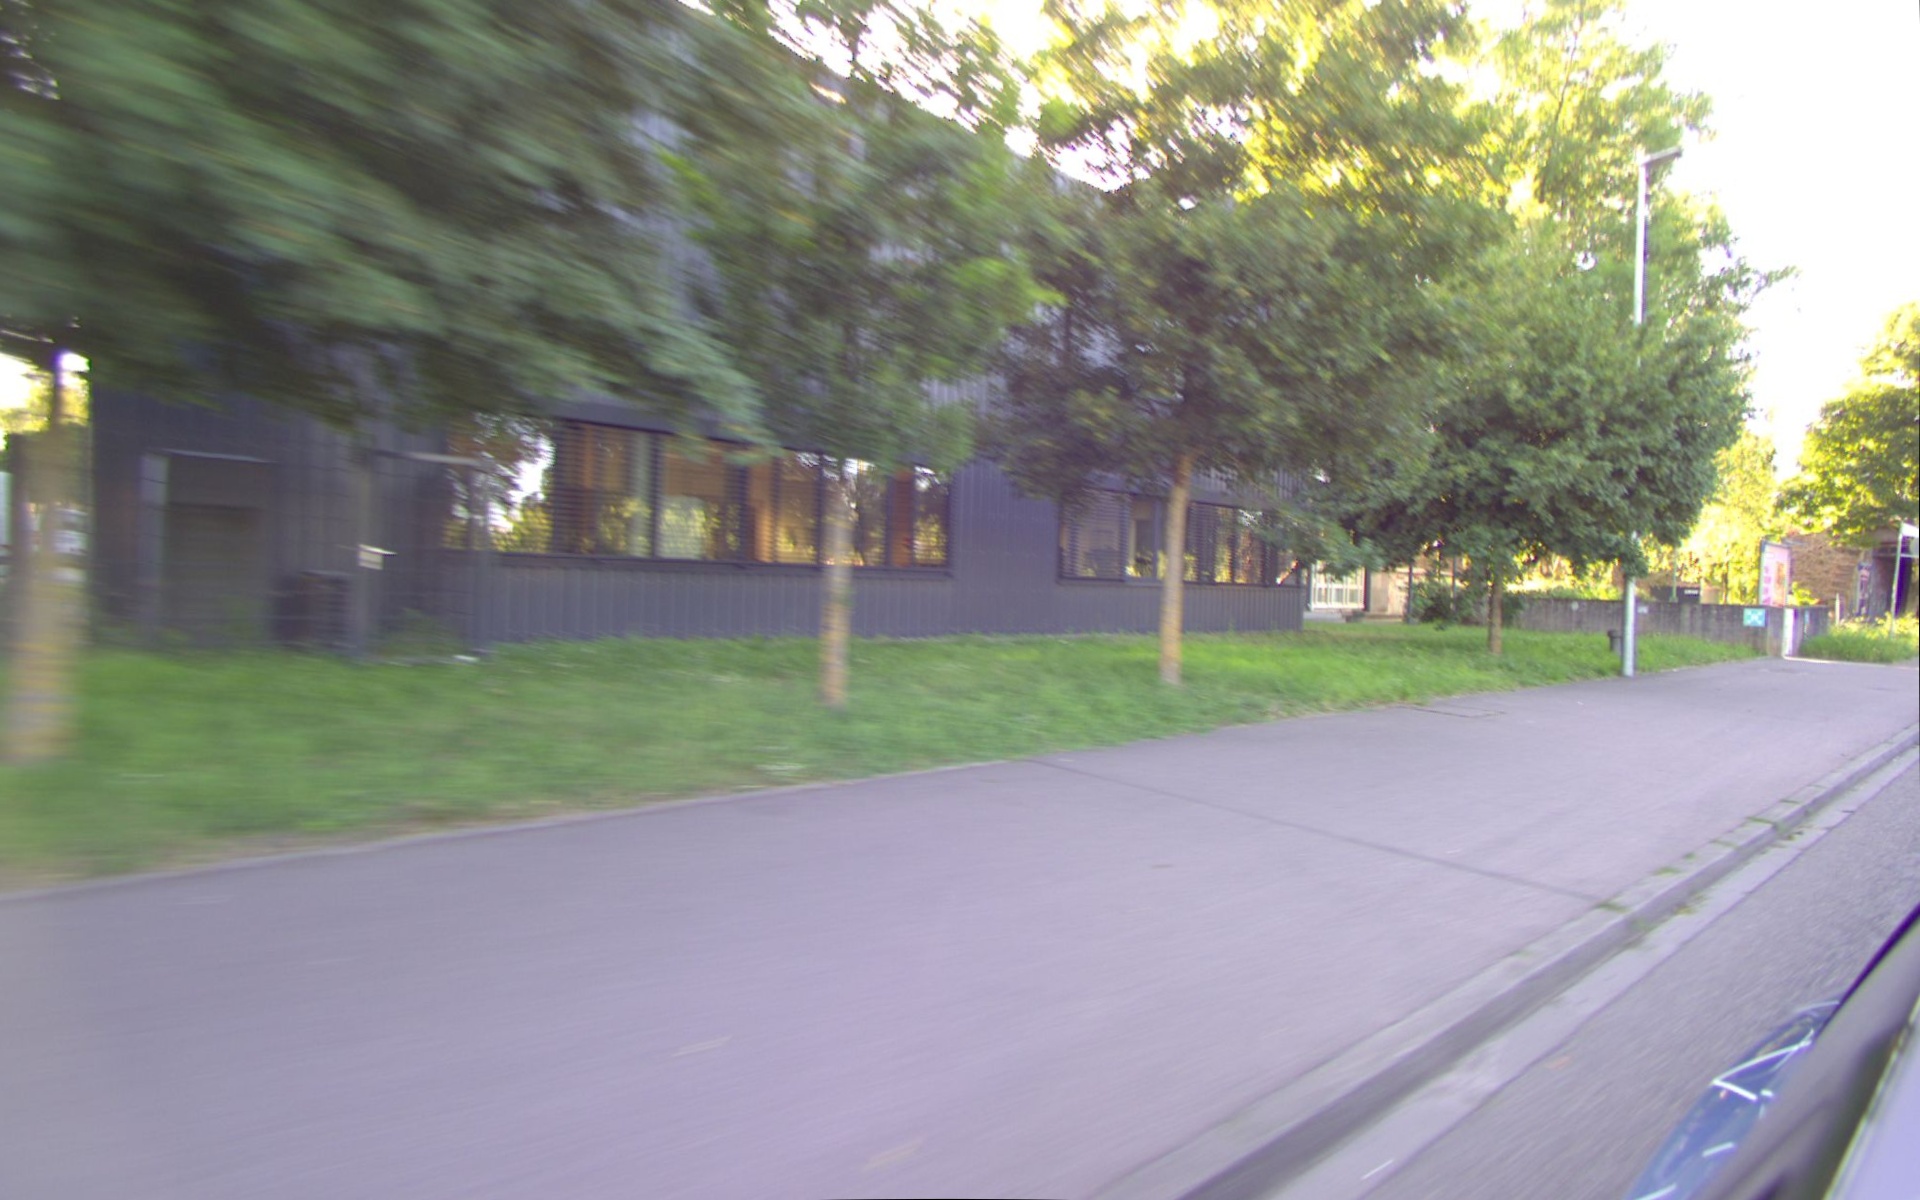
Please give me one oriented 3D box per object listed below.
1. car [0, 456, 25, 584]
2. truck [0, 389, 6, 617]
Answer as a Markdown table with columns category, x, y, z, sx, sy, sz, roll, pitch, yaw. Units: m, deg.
| category | x | y | z | sx | sy | sz | roll | pitch | yaw |
| --- | --- | --- | --- | --- | --- | --- | --- | --- | --- |
| car | -23.278 | -1.777 | 20.885 | 5.844 | 2.781 | 1.838 | -1 | 4 | -43 |
| truck | -13.508 | -1.122 | 9.643 | 6.289 | 2.711 | 2.285 | -1 | 0 | -41 |
